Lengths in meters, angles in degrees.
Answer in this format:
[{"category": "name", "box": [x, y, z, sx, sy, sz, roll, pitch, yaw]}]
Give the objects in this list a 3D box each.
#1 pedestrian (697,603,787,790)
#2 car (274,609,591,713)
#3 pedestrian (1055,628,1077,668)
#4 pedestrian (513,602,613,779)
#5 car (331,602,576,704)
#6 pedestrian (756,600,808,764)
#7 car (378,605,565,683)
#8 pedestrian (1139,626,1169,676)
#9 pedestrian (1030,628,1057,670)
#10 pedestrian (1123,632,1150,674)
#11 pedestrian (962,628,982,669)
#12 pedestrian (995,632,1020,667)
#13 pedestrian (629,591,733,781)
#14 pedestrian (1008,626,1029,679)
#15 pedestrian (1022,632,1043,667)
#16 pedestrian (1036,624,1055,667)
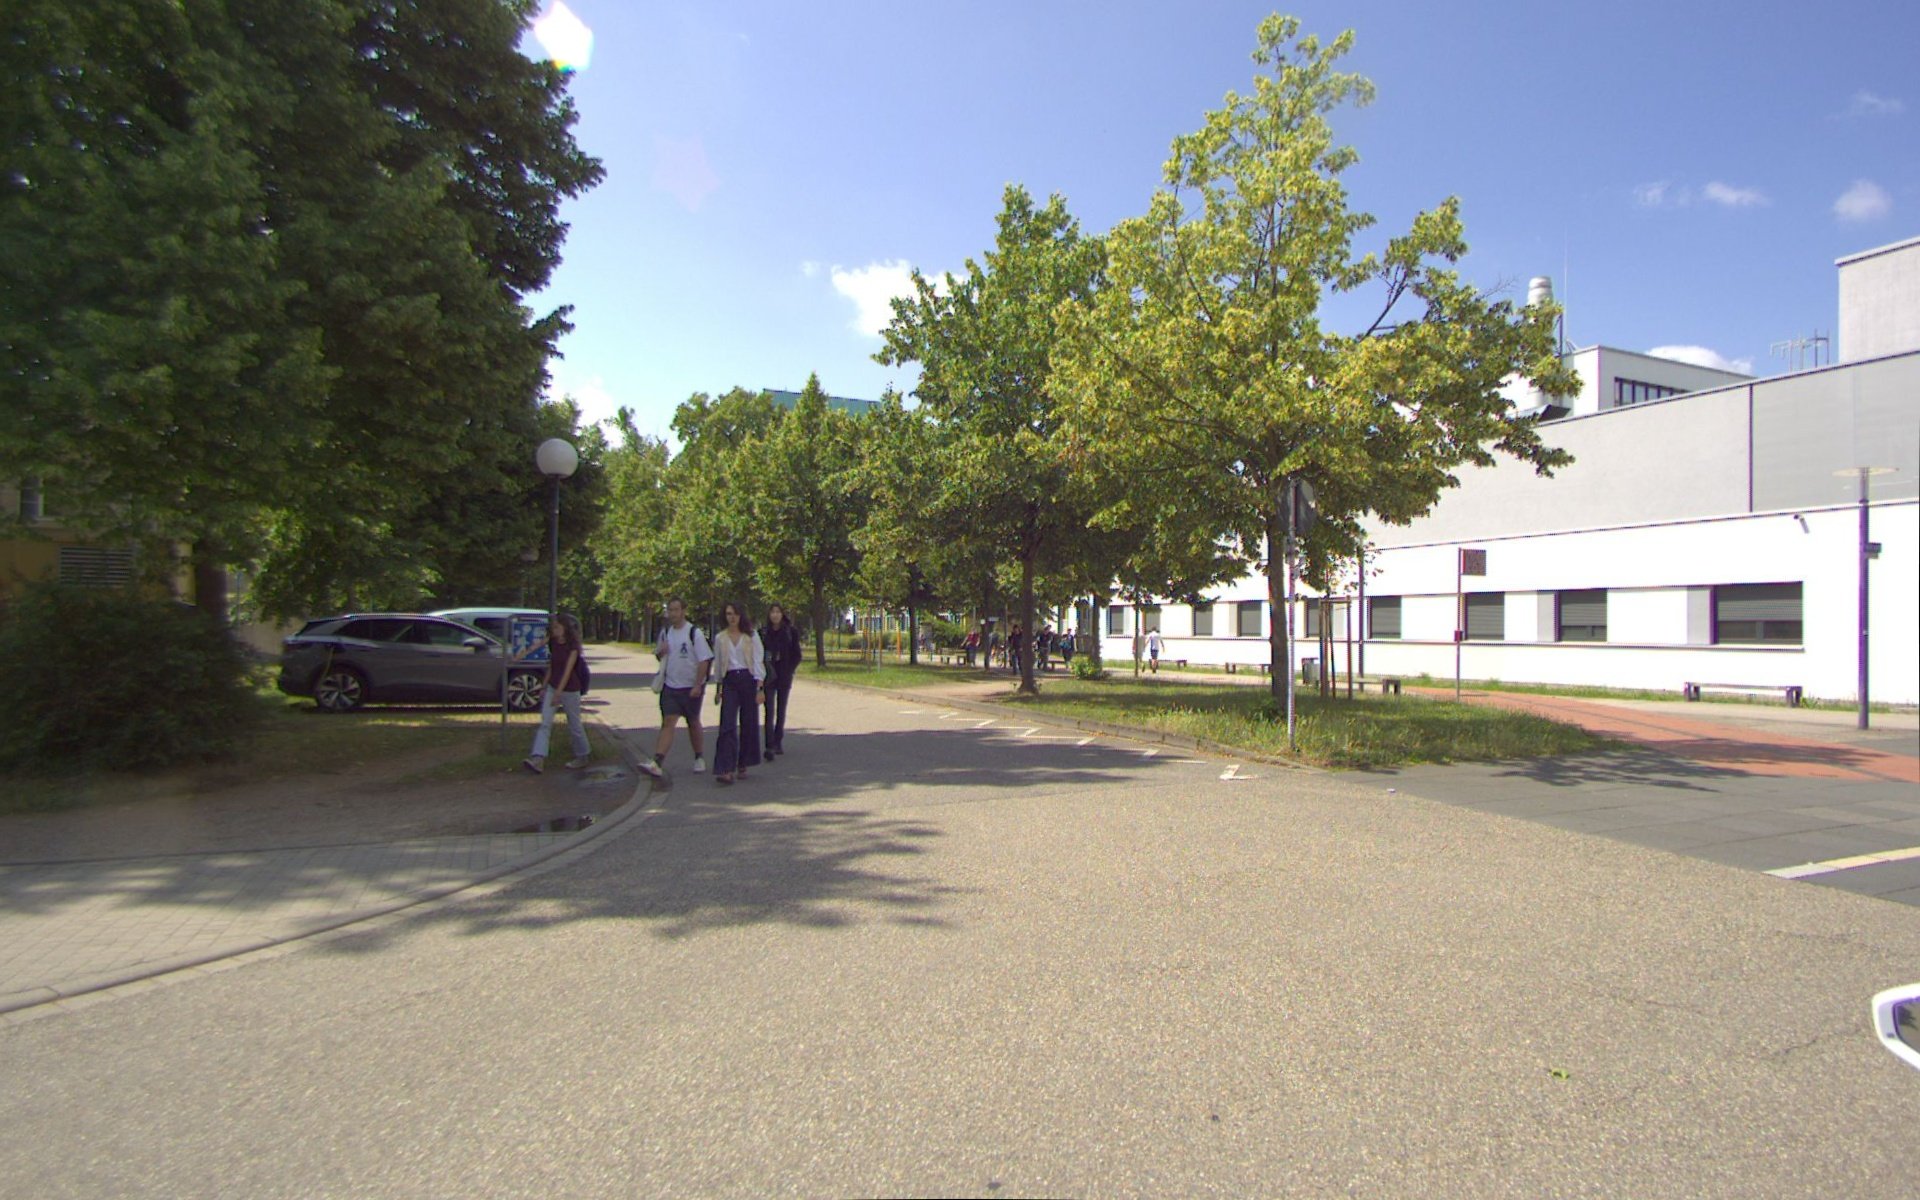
[{"category": "pedestrian", "box": [-2.118, 0.914, 9.868, 0.609, 1.739, 1.006, 0, -2, 2]}, {"category": "car", "box": [-8.943, 1.077, 17.456, 4.587, 1.601, 1.889, 3, -3, -25]}, {"category": "pedestrian", "box": [4.624, 2.080, 43.676, 0.785, 1.675, 0.731, 1, -1, -8]}, {"category": "pedestrian", "box": [-4.099, 0.903, 10.434, 0.546, 1.739, 0.973, 1, -1, 6]}, {"category": "car", "box": [-9.840, 1.068, 19.832, 4.069, 1.809, 1.802, 3, -3, -25]}, {"category": "pedestrian", "box": [-2.057, 0.920, 11.590, 0.559, 1.810, 0.871, 1, -2, -11]}, {"category": "car", "box": [-13.519, 1.259, 28.120, 4.461, 1.985, 1.804, 3, -2, -21]}, {"category": "pedestrian", "box": [7.512, 1.984, 38.912, 0.813, 1.908, 0.760, 1, -1, -21]}, {"category": "pedestrian", "box": [3.472, 2.055, 41.957, 0.741, 1.720, 0.880, 2, -1, -28]}, {"category": "pedestrian", "box": [6.748, 2.032, 38.497, 0.747, 1.583, 0.727, 1, -1, -21]}, {"category": "pedestrian", "box": [0.565, 2.262, 46.935, 0.840, 1.916, 0.667, 1, -1, -8]}, {"category": "pedestrian", "box": [2.158, 2.249, 45.633, 0.741, 1.602, 0.846, 2, -2, -36]}, {"category": "pedestrian", "box": [-2.795, 0.842, 10.146, 0.712, 1.810, 0.901, 1, -1, 3]}, {"category": "pedestrian", "box": [2.041, 1.812, 35.047, 0.623, 1.810, 0.873, 0, -2, 12]}, {"category": "pedestrian", "box": [3.297, 2.251, 45.731, 0.686, 1.602, 0.851, 1, -2, -21]}, {"category": "pedestrian", "box": [3.715, 1.982, 43.778, 0.673, 1.863, 0.761, 1, -1, -7]}]
